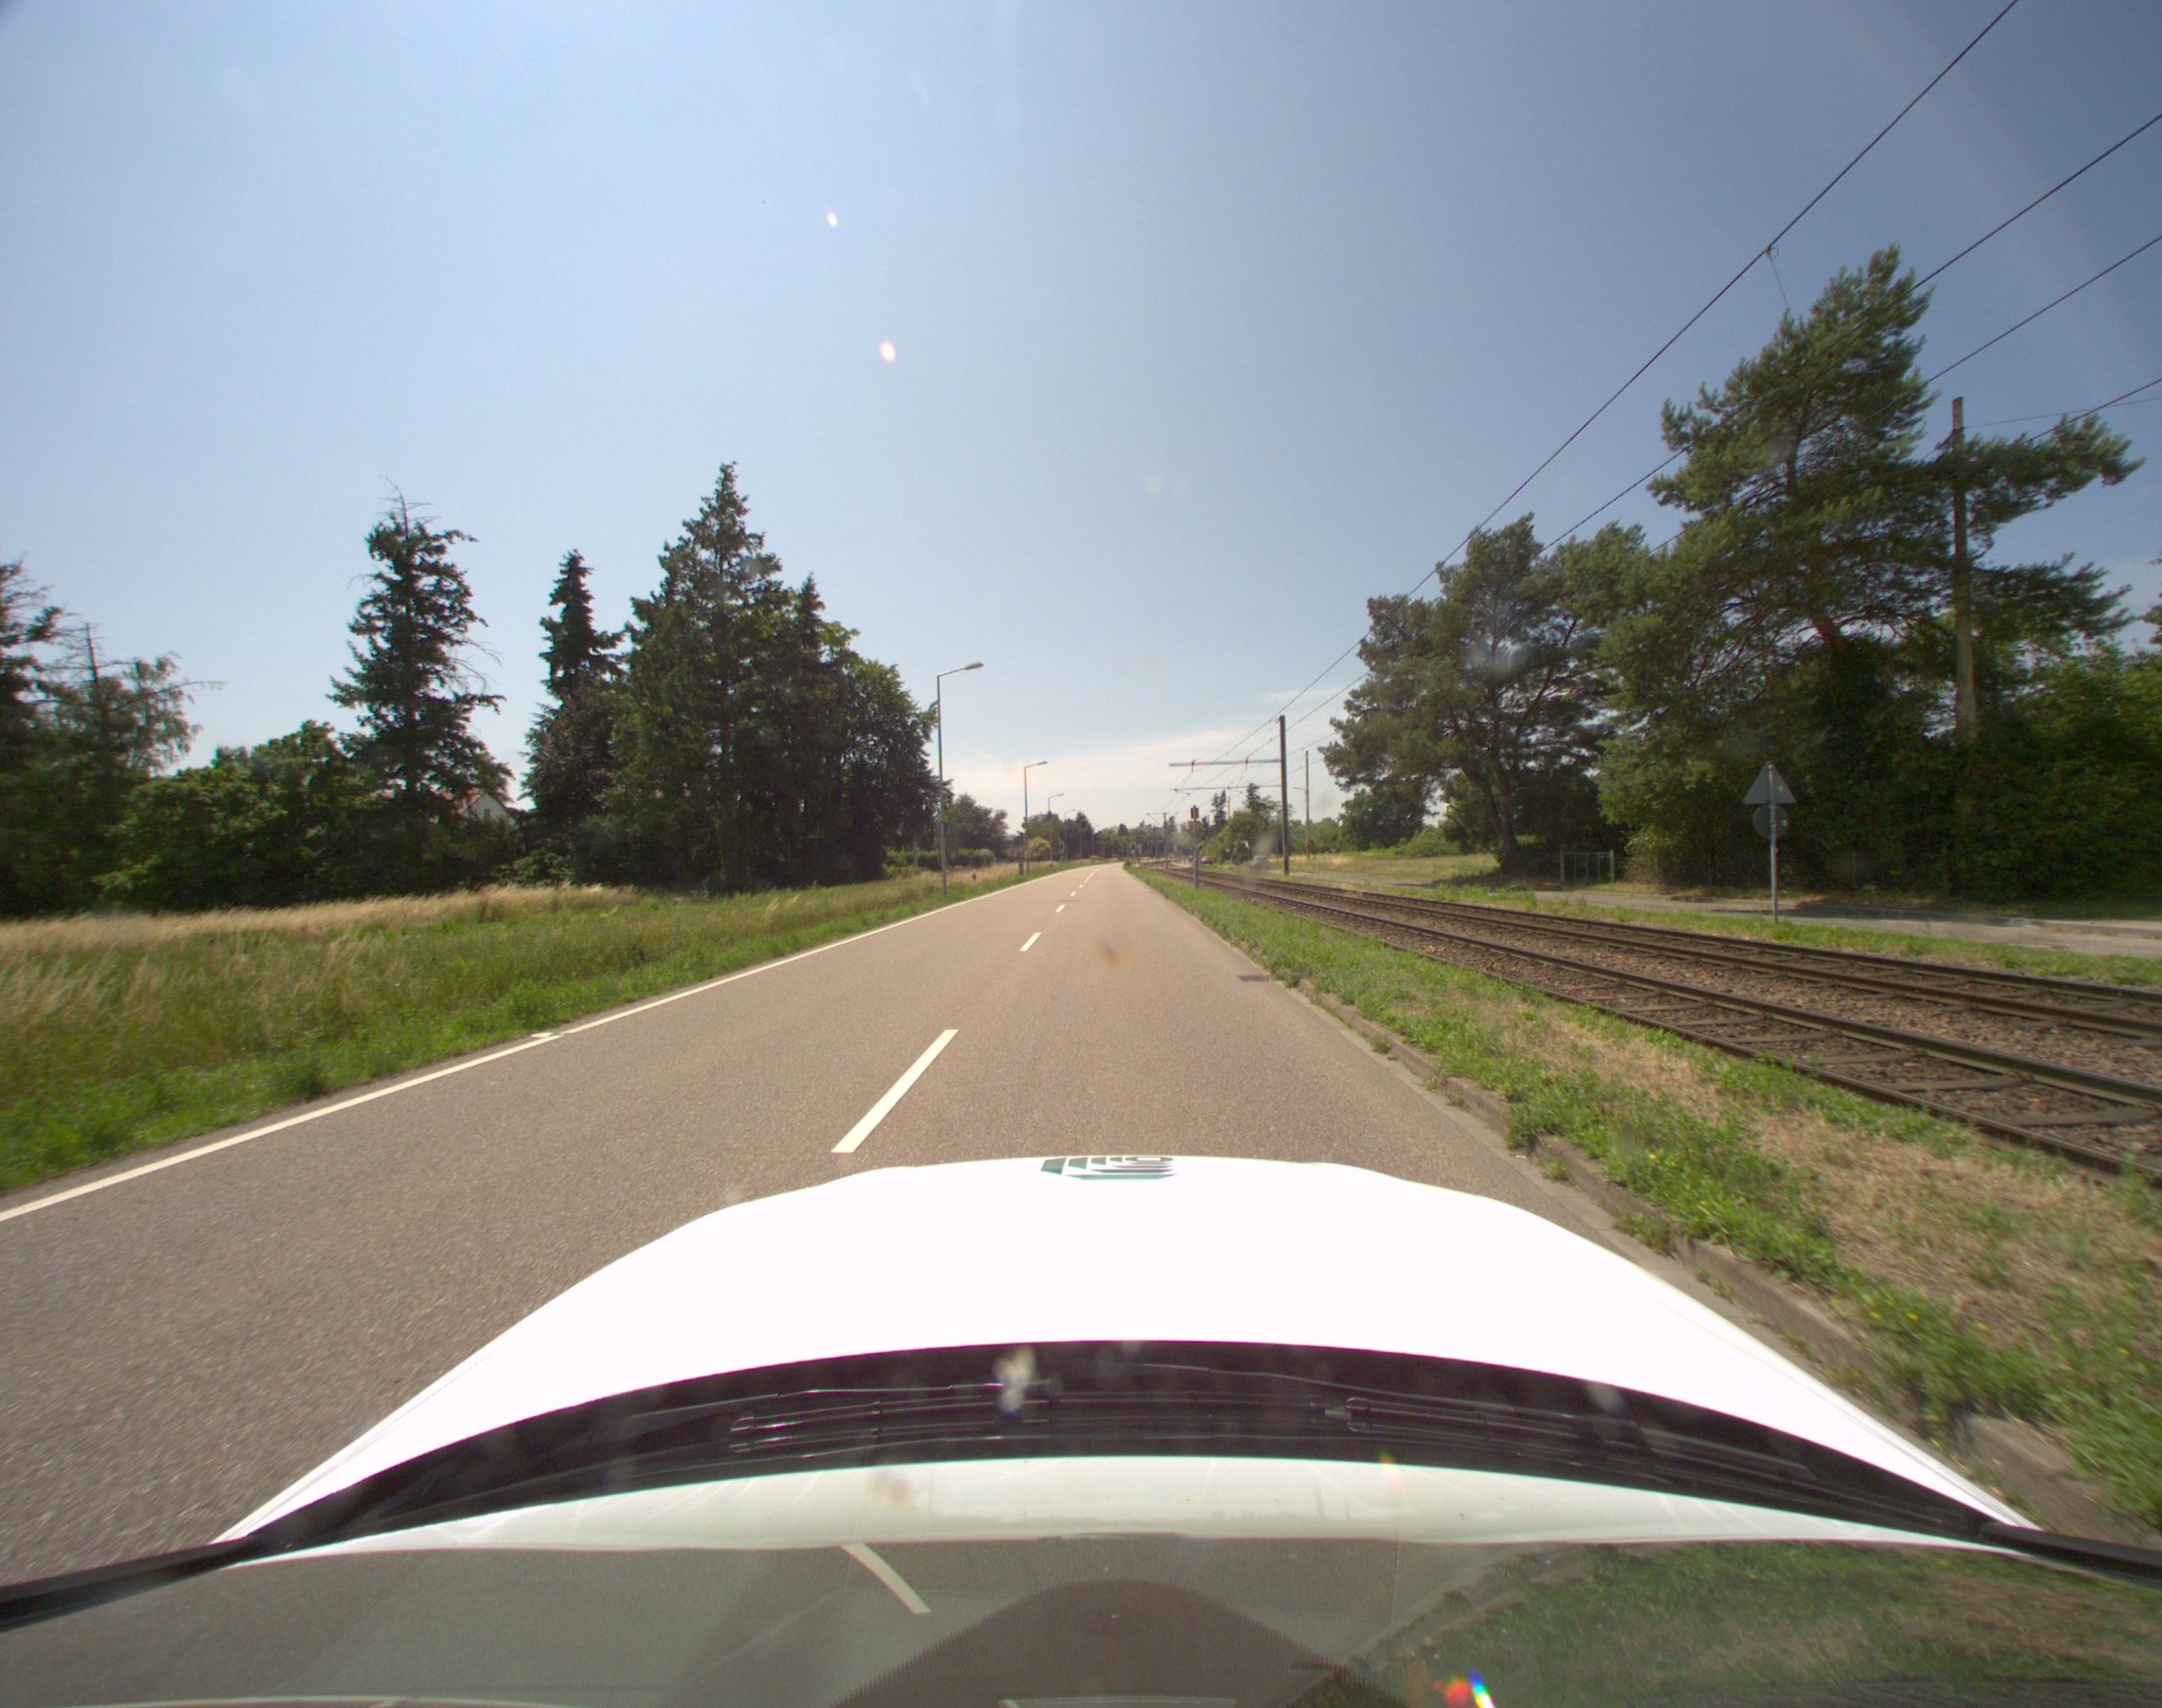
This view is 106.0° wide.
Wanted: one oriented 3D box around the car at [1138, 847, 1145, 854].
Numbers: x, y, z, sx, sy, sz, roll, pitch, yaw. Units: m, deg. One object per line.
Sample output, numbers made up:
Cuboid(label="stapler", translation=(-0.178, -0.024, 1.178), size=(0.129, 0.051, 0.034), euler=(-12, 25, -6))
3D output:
Cuboid(label="car", translation=(14.700, -0.893, 199.354), size=(1.546, 1.585, 3.570), euler=(-2, -1, 2))

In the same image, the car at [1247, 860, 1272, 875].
Cuboid(label="car", translation=(19.498, 1.471, 89.025), size=(1.986, 1.508, 4.001), euler=(-2, -1, 2))

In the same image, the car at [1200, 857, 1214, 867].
Cuboid(label="car", translation=(22.352, 1.431, 144.482), size=(1.908, 1.662, 4.002), euler=(-2, -1, 2))

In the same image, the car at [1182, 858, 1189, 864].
Cuboid(label="car", translation=(29.863, 1.967, 232.500), size=(1.750, 1.750, 4.002), euler=(-2, -1, 2))
